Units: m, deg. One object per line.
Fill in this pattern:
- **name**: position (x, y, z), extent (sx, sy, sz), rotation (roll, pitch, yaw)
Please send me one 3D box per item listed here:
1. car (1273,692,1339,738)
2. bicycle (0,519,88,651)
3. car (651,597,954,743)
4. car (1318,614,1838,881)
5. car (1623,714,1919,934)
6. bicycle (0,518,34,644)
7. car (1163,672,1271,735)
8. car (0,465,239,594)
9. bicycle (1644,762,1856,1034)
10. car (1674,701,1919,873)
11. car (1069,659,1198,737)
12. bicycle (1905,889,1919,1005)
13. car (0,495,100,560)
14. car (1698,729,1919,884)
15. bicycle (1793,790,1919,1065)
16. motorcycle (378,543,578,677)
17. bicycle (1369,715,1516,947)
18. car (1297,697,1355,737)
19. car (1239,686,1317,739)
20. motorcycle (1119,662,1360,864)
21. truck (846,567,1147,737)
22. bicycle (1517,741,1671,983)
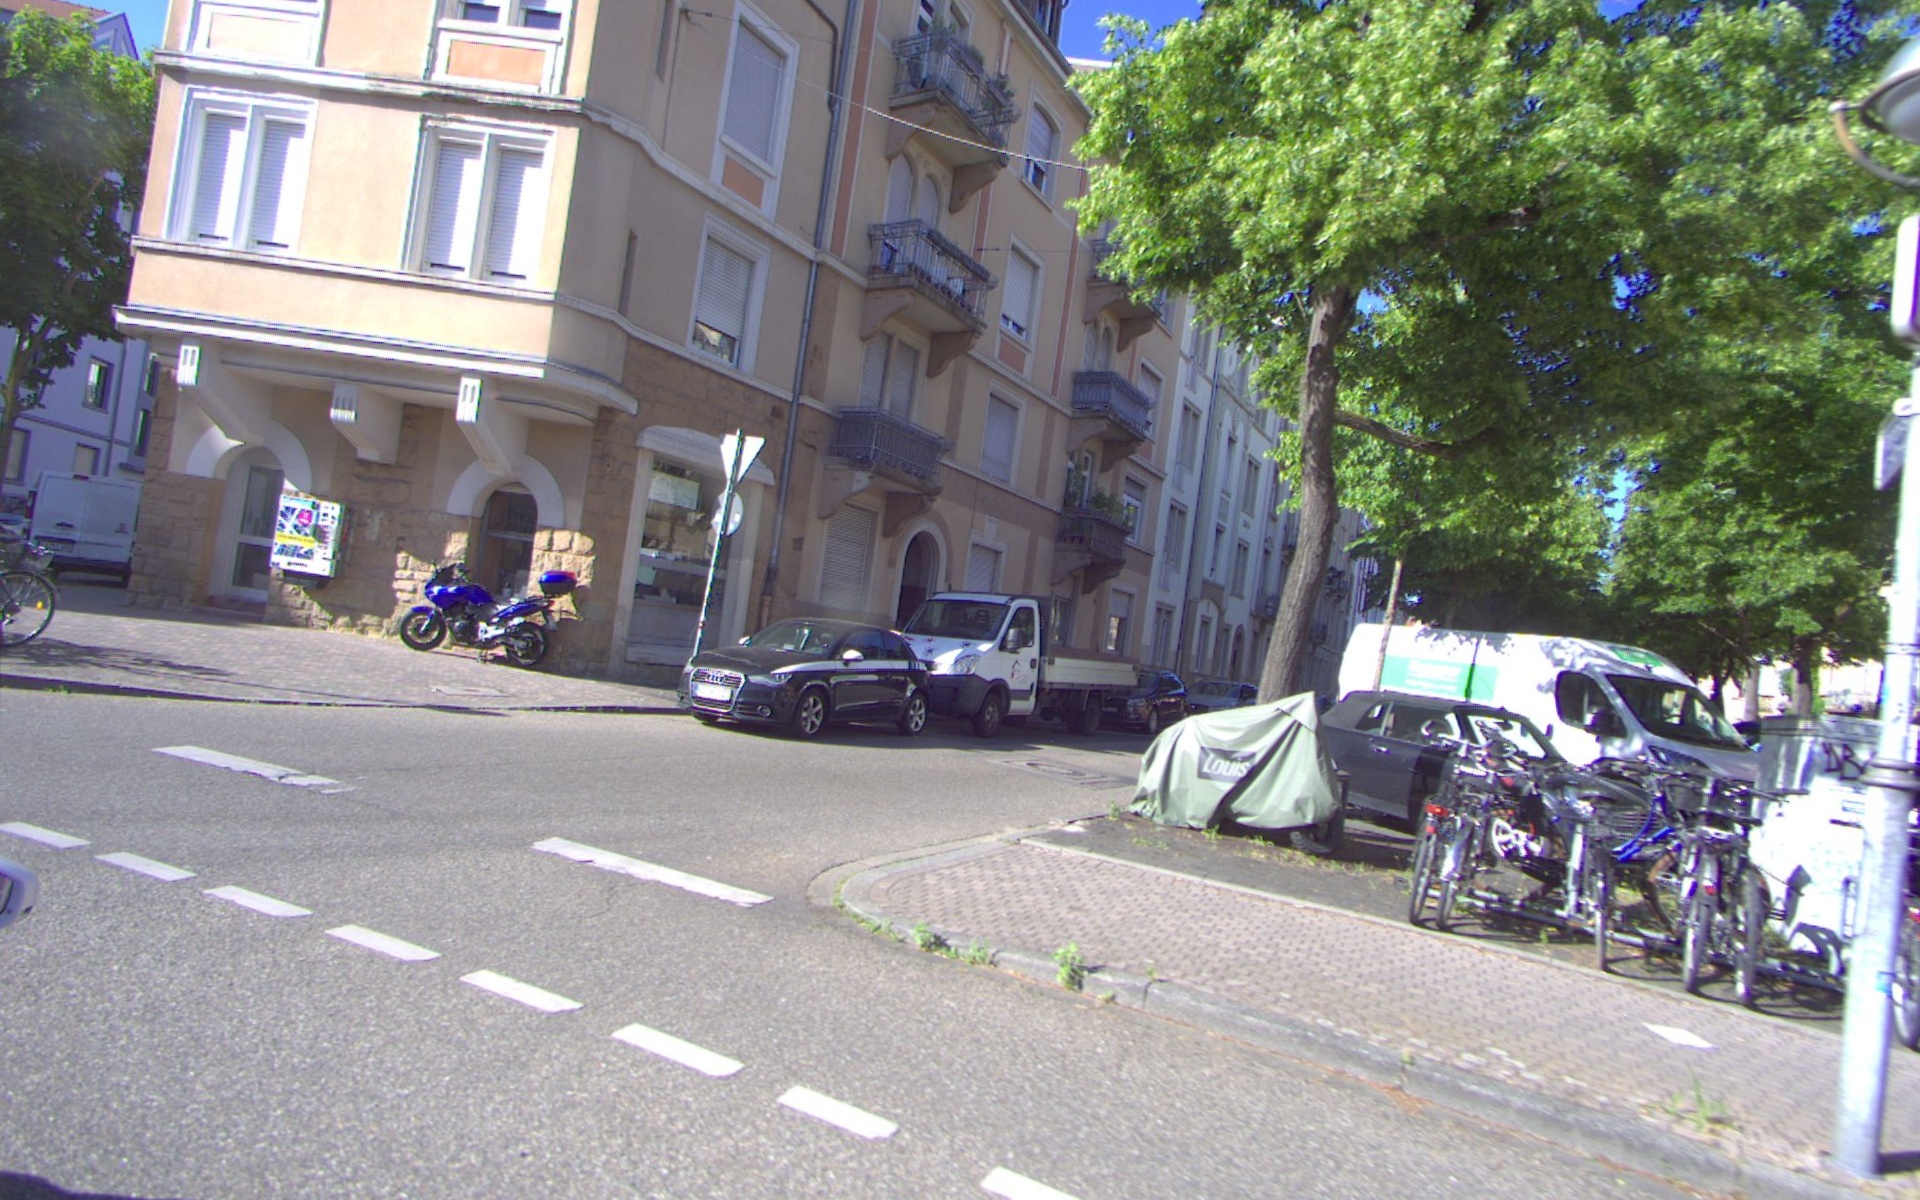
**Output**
- **car**: position (13.031, 4.294, 37.766), extent (1.659, 1.405, 3.921), rotation (6, -3, 28)
- **bicycle**: position (-8.502, -0.160, 8.538), extent (0.474, 1.136, 1.721), rotation (7, -2, 4)
- **car**: position (-1.782, 0.927, 12.683), extent (1.659, 1.405, 3.921), rotation (6, -3, 28)
- **car**: position (8.265, 1.778, 14.585), extent (2.073, 2.630, 6.353), rotation (9, -1, -17)
- **car**: position (8.524, 2.127, 8.987), extent (1.673, 1.463, 3.887), rotation (10, -1, -33)
- **bicycle**: position (-8.960, -0.224, 8.526), extent (0.474, 1.136, 1.698), rotation (7, -2, 2)
- **car**: position (7.159, 2.885, 27.790), extent (1.660, 1.405, 3.997), rotation (6, -3, 32)
- **car**: position (-16.509, -1.243, 19.960), extent (2.111, 1.930, 4.545), rotation (8, -2, -18)
- **bicycle**: position (4.370, 1.563, 5.686), extent (0.646, 1.101, 1.727), rotation (8, -1, 33)
- **car**: position (13.058, 2.769, 14.998), extent (1.670, 1.886, 3.359), rotation (9, -1, -29)
- **car**: position (4.028, 2.236, 22.841), extent (1.659, 1.405, 3.921), rotation (6, -3, 28)
- **bicycle**: position (5.461, 1.731, 5.248), extent (0.412, 1.102, 1.570), rotation (8, -1, 34)
- **car**: position (-26.361, -2.091, 28.130), extent (1.675, 1.503, 3.996), rotation (8, -2, -12)
- **car**: position (11.747, 2.718, 12.896), extent (1.679, 1.463, 3.341), rotation (10, -1, -44)
- **bicycle**: position (4.887, 1.649, 5.290), extent (0.492, 1.115, 1.646), rotation (8, -1, 34)
- **motorcycle**: position (-6.542, 0.144, 13.726), extent (2.210, 1.427, 0.700), rotation (10, 0, 1)
- **bicycle**: position (3.149, 1.392, 6.481), extent (0.529, 1.207, 1.676), rotation (8, 0, 33)
- **car**: position (15.432, 4.906, 42.340), extent (1.659, 1.405, 3.921), rotation (6, -3, 28)
- **car**: position (10.434, 3.656, 32.877), extent (1.659, 1.405, 3.921), rotation (6, -3, 28)
- **motorcycle**: position (2.270, 1.284, 8.298), extent (1.685, 1.285, 0.536), rotation (8, 0, 37)
- **truck**: position (0.986, 1.066, 17.761), extent (2.104, 2.318, 6.612), rotation (6, -3, 32)
- **bicycle**: position (3.869, 1.503, 6.160), extent (0.580, 1.140, 1.599), rotation (8, 0, 33)
